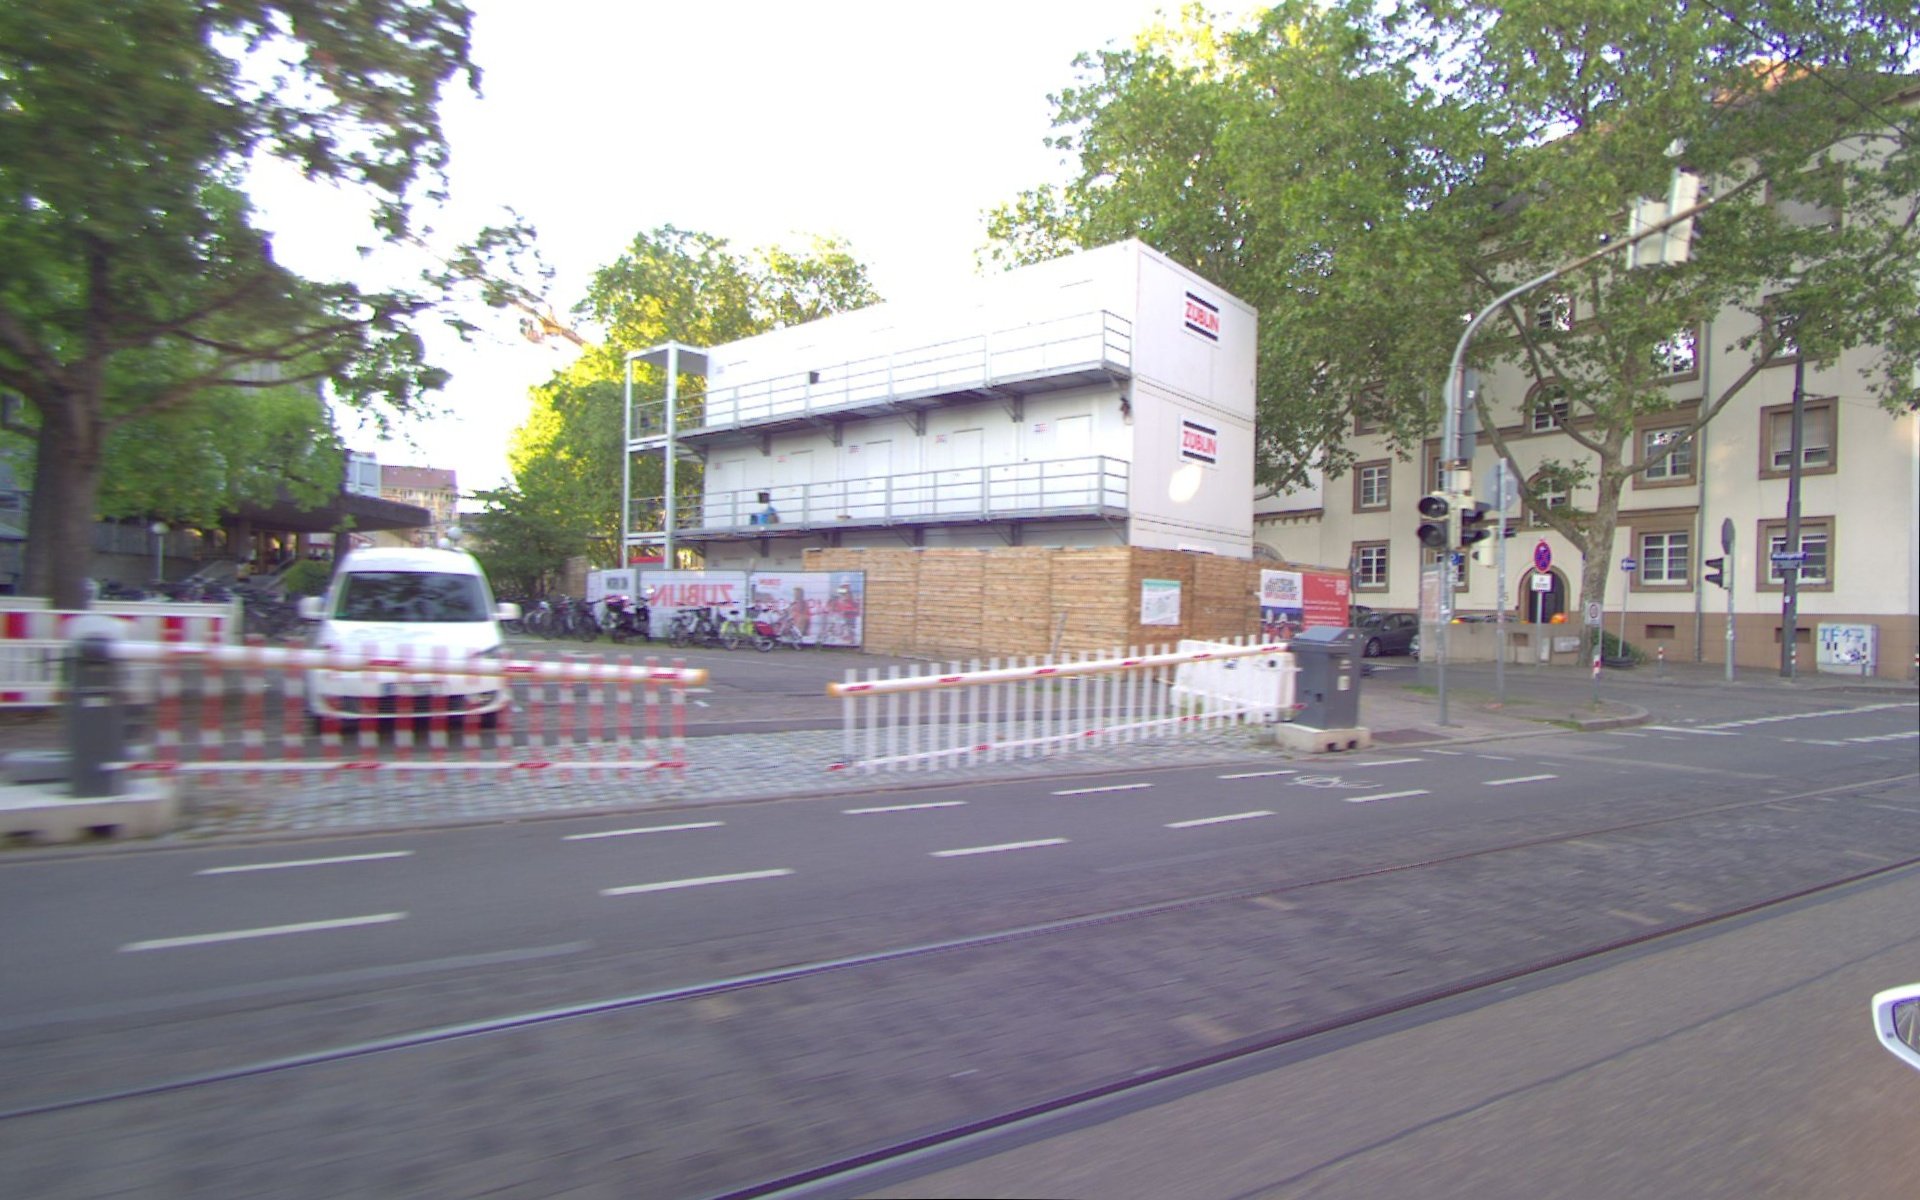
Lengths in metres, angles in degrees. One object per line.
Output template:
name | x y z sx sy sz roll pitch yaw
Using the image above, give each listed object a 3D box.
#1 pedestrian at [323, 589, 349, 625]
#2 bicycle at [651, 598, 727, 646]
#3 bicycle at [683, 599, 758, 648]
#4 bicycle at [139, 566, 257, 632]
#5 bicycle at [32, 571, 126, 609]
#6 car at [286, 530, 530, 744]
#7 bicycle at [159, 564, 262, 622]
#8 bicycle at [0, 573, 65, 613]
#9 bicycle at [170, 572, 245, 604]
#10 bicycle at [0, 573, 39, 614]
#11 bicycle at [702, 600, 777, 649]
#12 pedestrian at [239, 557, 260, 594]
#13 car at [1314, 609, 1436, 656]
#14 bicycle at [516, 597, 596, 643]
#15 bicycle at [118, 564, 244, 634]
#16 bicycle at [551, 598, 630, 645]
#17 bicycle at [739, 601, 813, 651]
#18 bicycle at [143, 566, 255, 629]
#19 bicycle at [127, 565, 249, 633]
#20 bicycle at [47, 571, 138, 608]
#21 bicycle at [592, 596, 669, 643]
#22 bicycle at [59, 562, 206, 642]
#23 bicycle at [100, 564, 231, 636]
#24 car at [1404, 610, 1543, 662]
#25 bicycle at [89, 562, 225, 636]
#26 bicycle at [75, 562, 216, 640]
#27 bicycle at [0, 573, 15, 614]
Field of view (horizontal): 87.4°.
pedestrian | -18.893 0.208 30.412 0.624 1.085 0.755 1 1 -34
bicycle | -6.591 0.525 24.552 0.533 1.120 1.973 2 0 30
bicycle | -5.769 0.557 24.316 0.533 1.120 1.973 2 0 30
bicycle | -16.551 -0.015 21.858 1.951 1.387 0.539 1 1 -27
bicycle | -29.358 -0.331 33.498 2.226 1.197 0.810 1 1 -14
car | -6.237 0.301 11.531 1.990 1.899 4.812 1 1 -28
bicycle | -18.544 -0.167 24.908 1.951 1.387 0.539 1 1 -27
bicycle | -29.268 -0.226 31.083 2.226 1.197 0.810 1 1 -14
bicycle | -30.064 -0.478 40.169 2.226 1.197 0.810 1 1 -14
bicycle | -29.166 -0.220 30.069 2.226 1.197 0.810 1 1 -14
bicycle | -5.223 0.569 23.932 0.533 1.120 1.973 2 0 30
pedestrian | -28.458 -0.978 40.235 0.624 1.442 0.755 1 1 -34
car | 14.166 1.077 34.269 4.043 1.378 1.745 -1 2 -30
bicycle | -10.217 0.493 25.475 0.533 1.120 1.973 2 0 30
bicycle | -15.973 -0.001 20.651 1.951 1.387 0.539 1 1 -27
bicycle | -9.271 0.520 25.261 0.533 1.120 1.973 2 0 30
bicycle | -4.308 0.590 23.628 0.533 1.120 1.973 2 0 30
bicycle | -17.384 -0.042 23.006 1.951 1.387 0.539 1 1 -27
bicycle | -16.258 -0.004 21.203 1.951 1.387 0.539 1 1 -27
bicycle | -29.671 -0.352 34.399 2.226 1.197 0.810 1 1 -14
bicycle | -8.185 0.479 25.039 0.533 1.120 1.973 2 0 30
bicycle | -14.870 0.044 18.103 1.951 1.387 0.539 1 1 -27
bicycle | -15.766 0.014 19.989 1.951 1.387 0.539 1 1 -27
car | 16.015 1.066 31.281 4.420 1.378 1.745 -1 2 -30
bicycle | -15.493 -0.005 19.439 1.951 1.387 0.539 1 1 -27
bicycle | -15.151 0.034 18.753 1.951 1.387 0.539 1 1 -27
bicycle | -28.982 -0.212 29.082 2.226 1.197 0.810 1 1 -14
